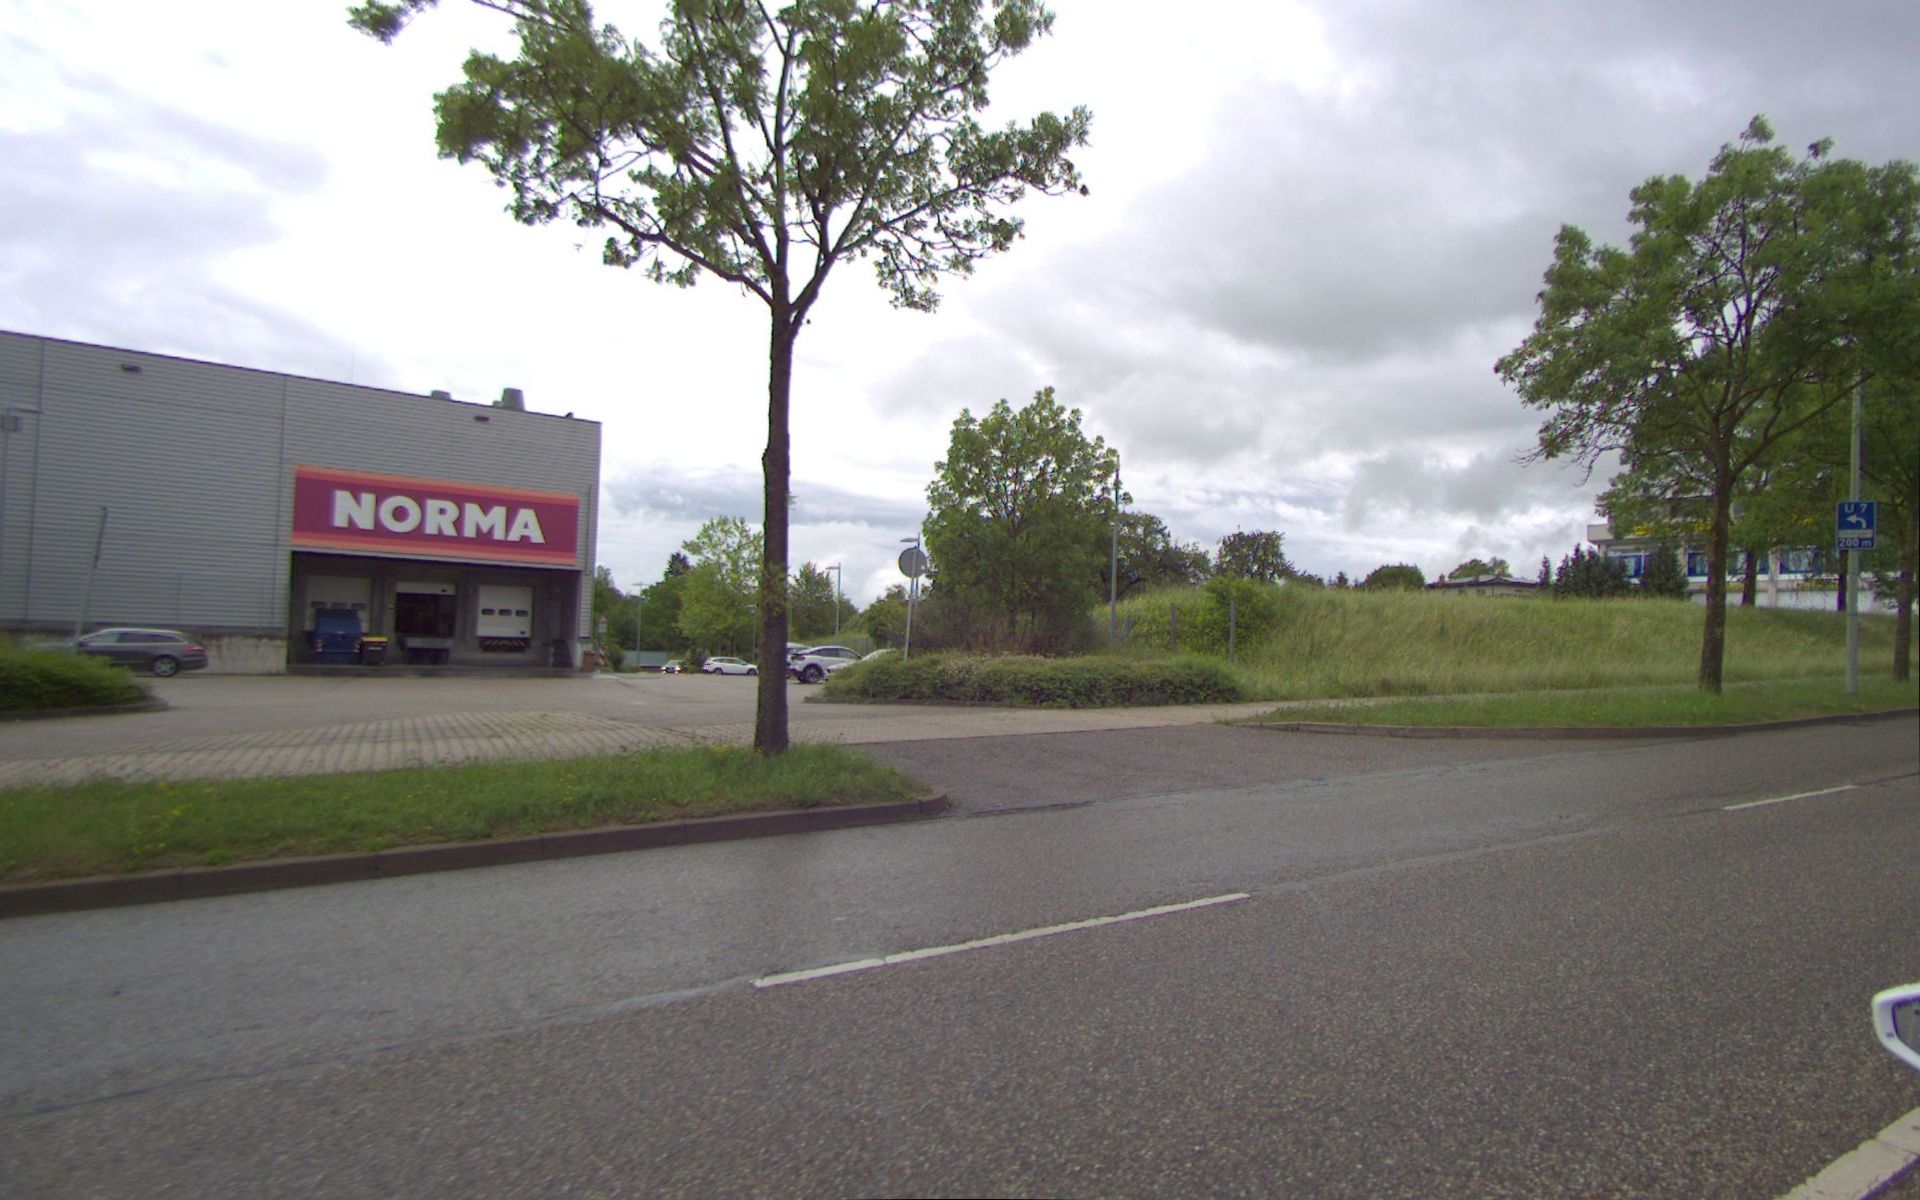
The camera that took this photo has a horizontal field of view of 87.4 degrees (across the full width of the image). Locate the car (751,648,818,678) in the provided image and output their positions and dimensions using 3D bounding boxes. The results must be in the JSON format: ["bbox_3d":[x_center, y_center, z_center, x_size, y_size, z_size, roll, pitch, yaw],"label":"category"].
[{"bbox_3d":[-8.640,3.061,49.395,3.095,1.387,1.449,1,-1,-20],"label":"car"}]

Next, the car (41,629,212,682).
[{"bbox_3d":[-26.740,1.739,32.420,4.115,1.589,1.758,1,-2,-37],"label":"car"}]

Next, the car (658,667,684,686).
[{"bbox_3d":[-26.209,6.931,91.048,1.769,1.623,3.846,0,-3,-9],"label":"car"}]

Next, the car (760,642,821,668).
[{"bbox_3d":[-9.219,2.988,54.696,3.095,1.387,1.449,1,-1,-20],"label":"car"}]

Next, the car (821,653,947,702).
[{"bbox_3d":[-2.699,2.724,35.805,4.230,1.635,1.529,1,-1,-20],"label":"car"}]

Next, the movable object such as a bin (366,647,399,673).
[{"bbox_3d":[-27.211,2.823,47.323,1.228,1.195,1.413,3,-3,-32],"label":"movable object such as a bin"}]

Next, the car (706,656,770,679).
[{"bbox_3d":[-17.355,5.262,78.564,4.665,1.635,1.878,1,-1,-22],"label":"car"}]

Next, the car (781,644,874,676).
[{"bbox_3d":[-5.592,2.521,42.305,3.662,1.281,1.449,1,-1,-20],"label":"car"}]
